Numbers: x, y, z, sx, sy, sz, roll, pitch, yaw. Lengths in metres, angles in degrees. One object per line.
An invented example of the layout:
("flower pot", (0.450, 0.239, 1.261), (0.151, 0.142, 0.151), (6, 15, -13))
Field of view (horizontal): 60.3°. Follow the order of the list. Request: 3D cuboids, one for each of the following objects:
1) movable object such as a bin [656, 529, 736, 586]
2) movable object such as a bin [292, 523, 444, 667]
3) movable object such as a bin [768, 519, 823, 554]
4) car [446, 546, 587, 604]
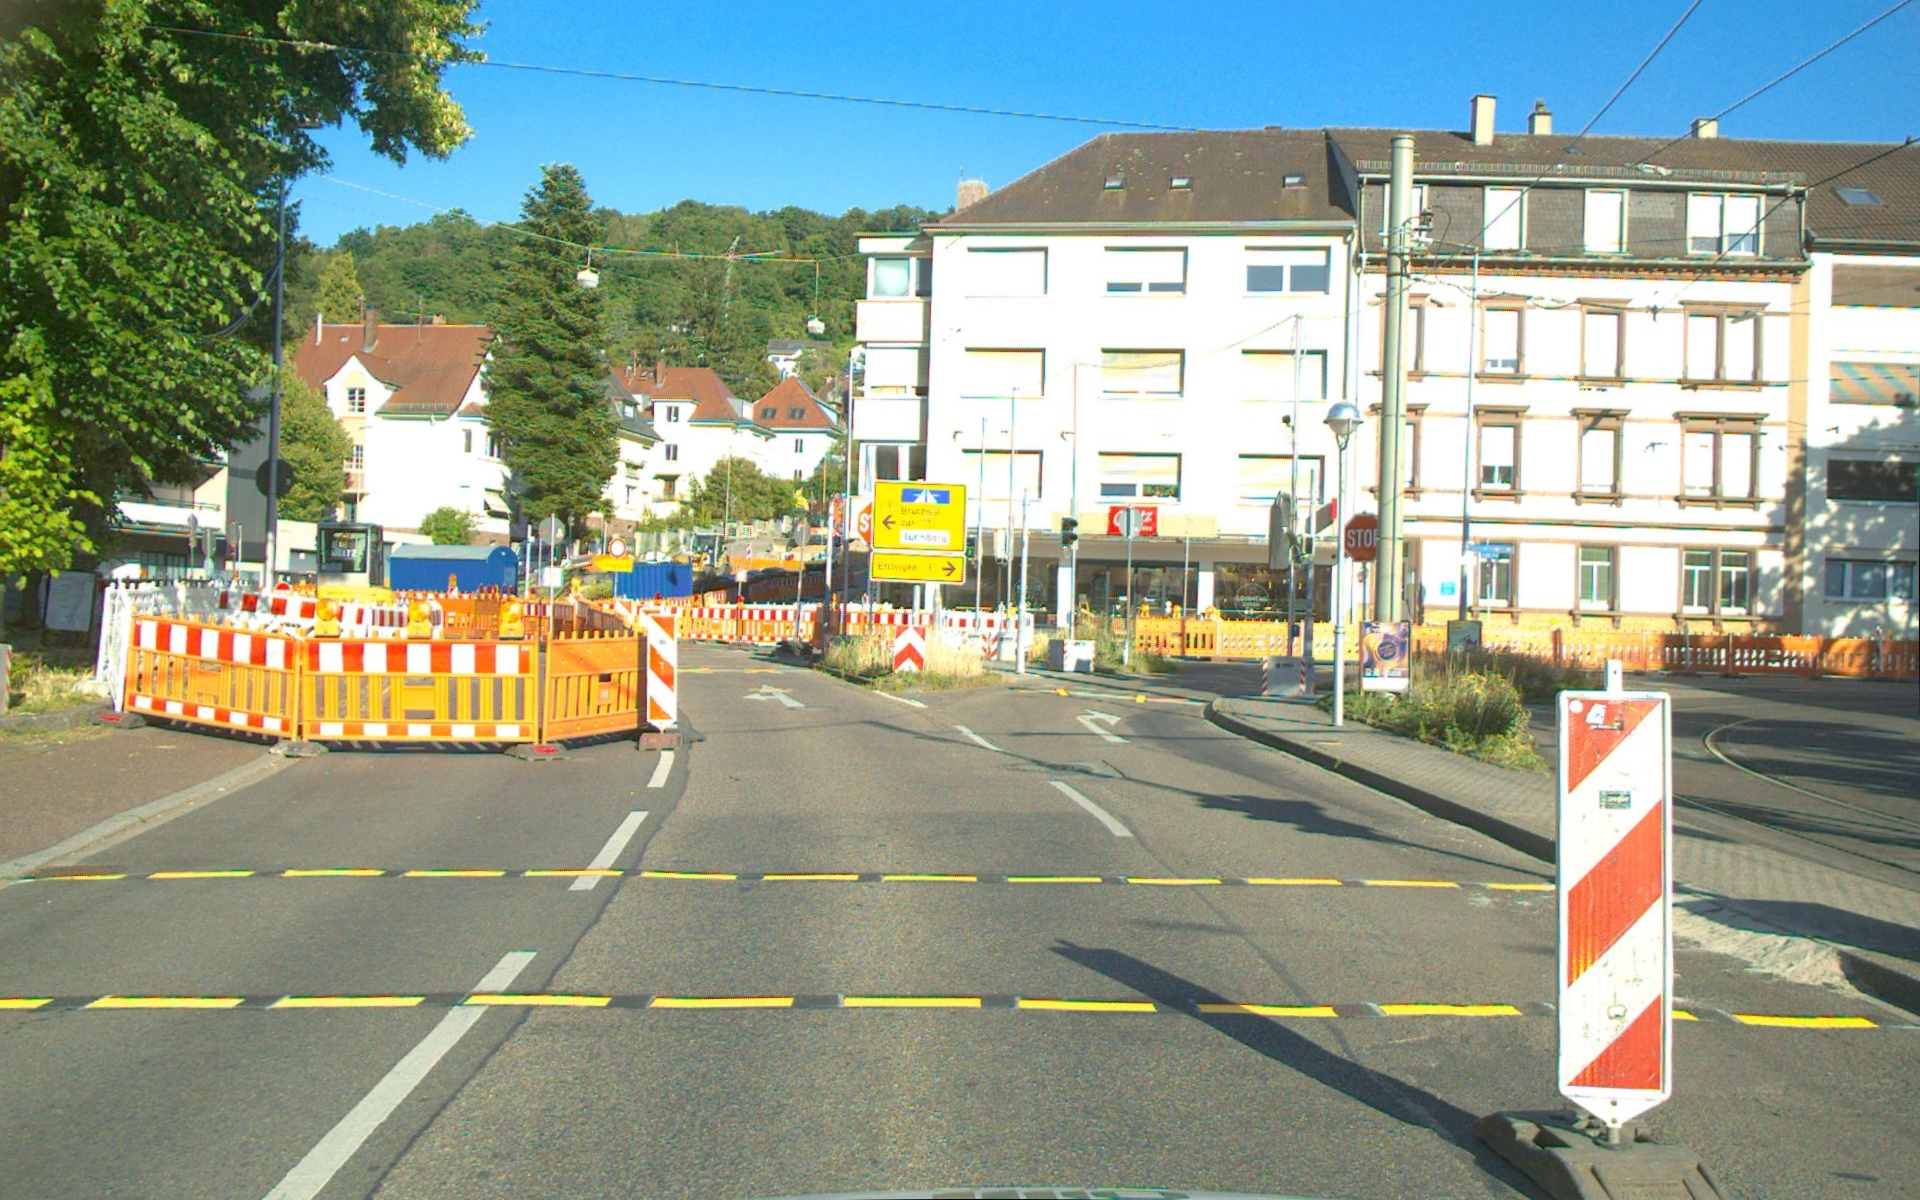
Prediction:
("movable object such as a bin", (-12.526, -2.006, 78.782), (1.907, 2.538, 4.554), (1, 0, 17))
("movable object such as a bin", (-10.412, -0.094, 29.337), (1.615, 2.365, 3.916), (1, 0, -6))
("movable object such as a bin", (-11.367, -4.394, 114.732), (2.510, 2.159, 5.789), (1, 0, 8))
("car", (-17.576, -0.946, 65.900), (2.529, 2.158, 6.154), (1, 0, 17))
